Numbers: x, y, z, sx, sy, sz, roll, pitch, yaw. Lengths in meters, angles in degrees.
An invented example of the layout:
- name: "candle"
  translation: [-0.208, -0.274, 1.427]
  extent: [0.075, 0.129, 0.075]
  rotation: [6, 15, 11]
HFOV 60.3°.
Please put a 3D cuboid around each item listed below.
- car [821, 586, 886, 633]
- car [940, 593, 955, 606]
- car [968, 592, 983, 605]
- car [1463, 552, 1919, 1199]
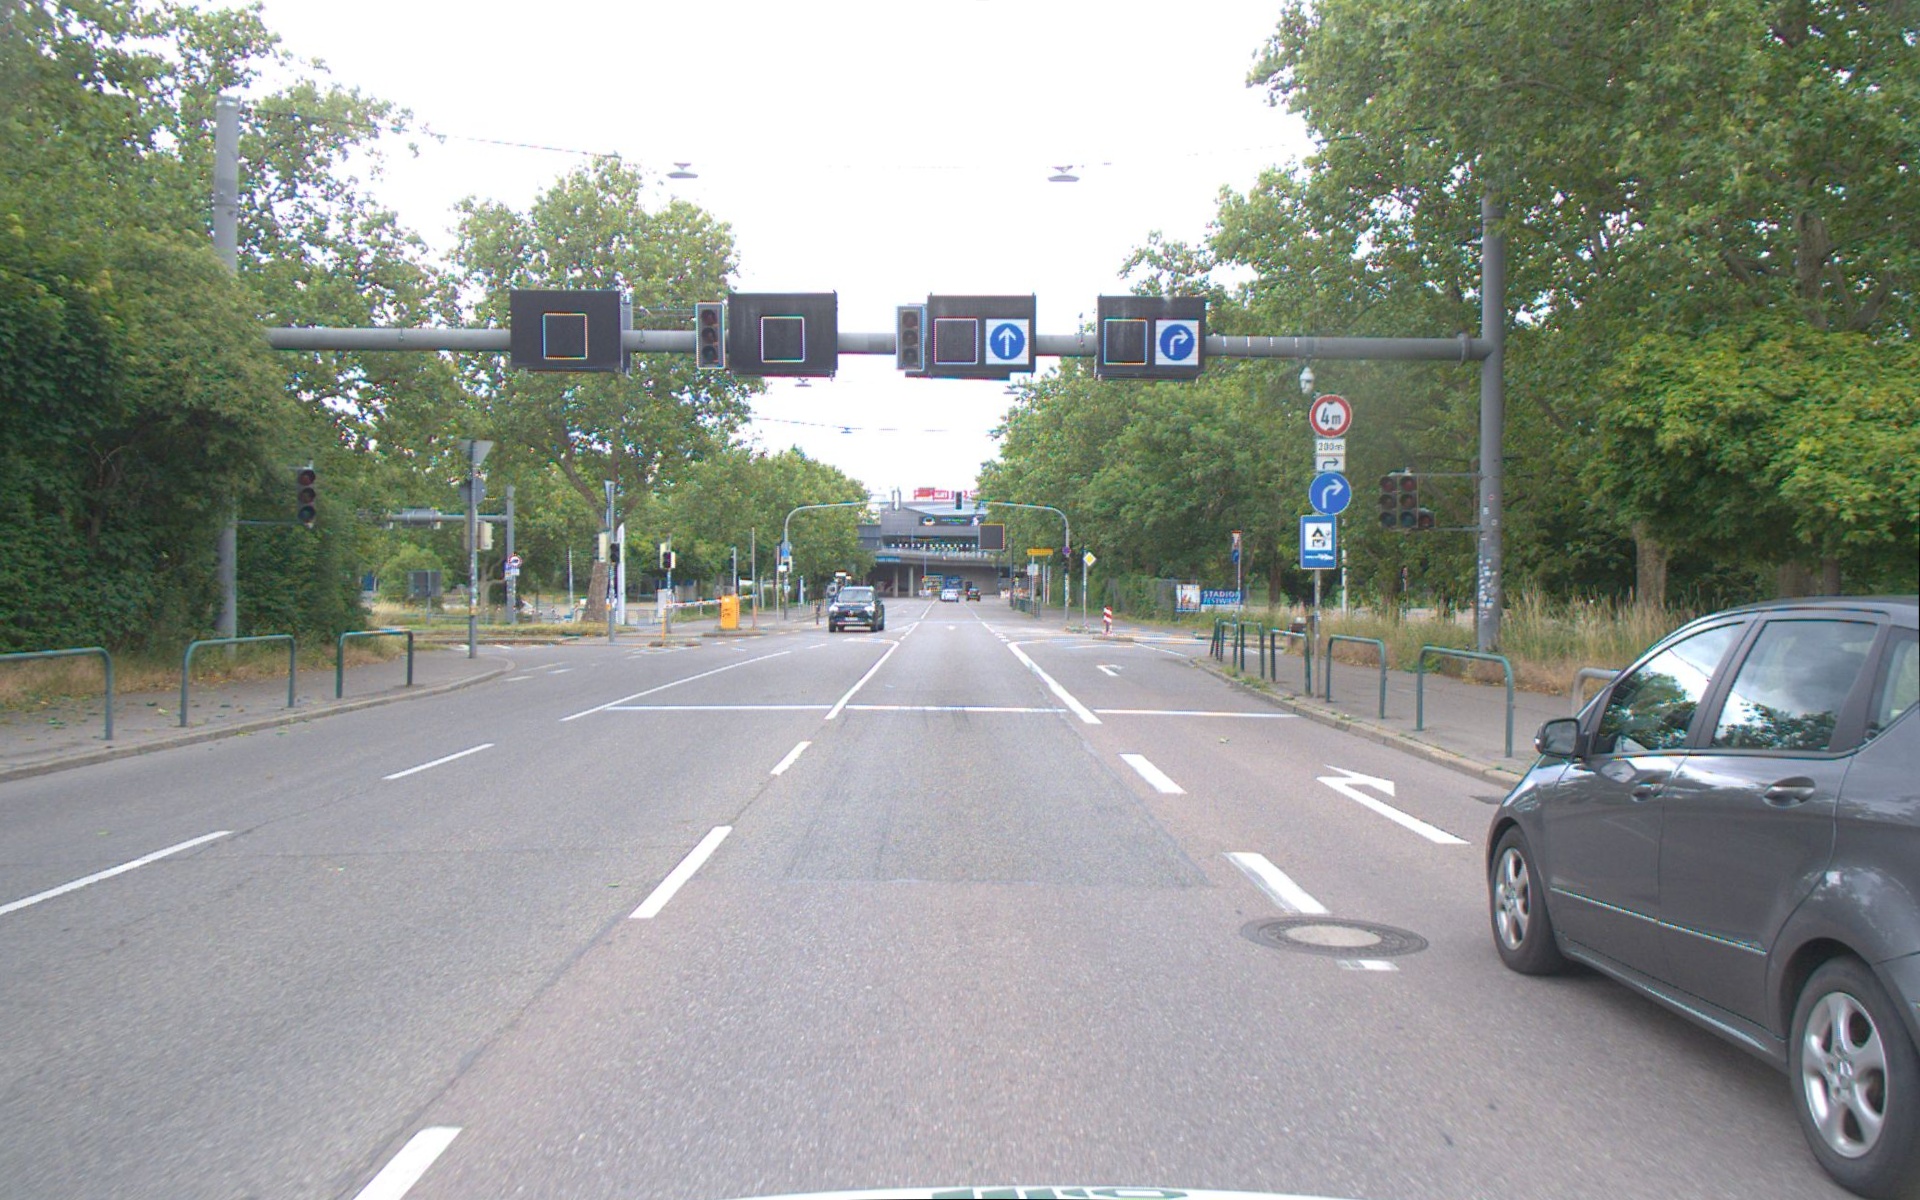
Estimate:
- name: "car"
  translation: [-3.969, 0.345, 62.447]
  extent: [1.952, 1.689, 4.518]
  rotation: [-1, 0, 2]
- name: "car"
  translation: [-1.506, -0.085, 204.865]
  extent: [1.742, 1.486, 3.822]
  rotation: [2, 0, 1]
- name: "car"
  translation: [2.152, -0.153, 228.667]
  extent: [1.966, 1.728, 4.070]
  rotation: [1, 0, 1]
- name: "car"
  translation: [3.237, 0.691, 5.634]
  extent: [1.789, 1.644, 4.034]
  rotation: [1, 1, 0]
